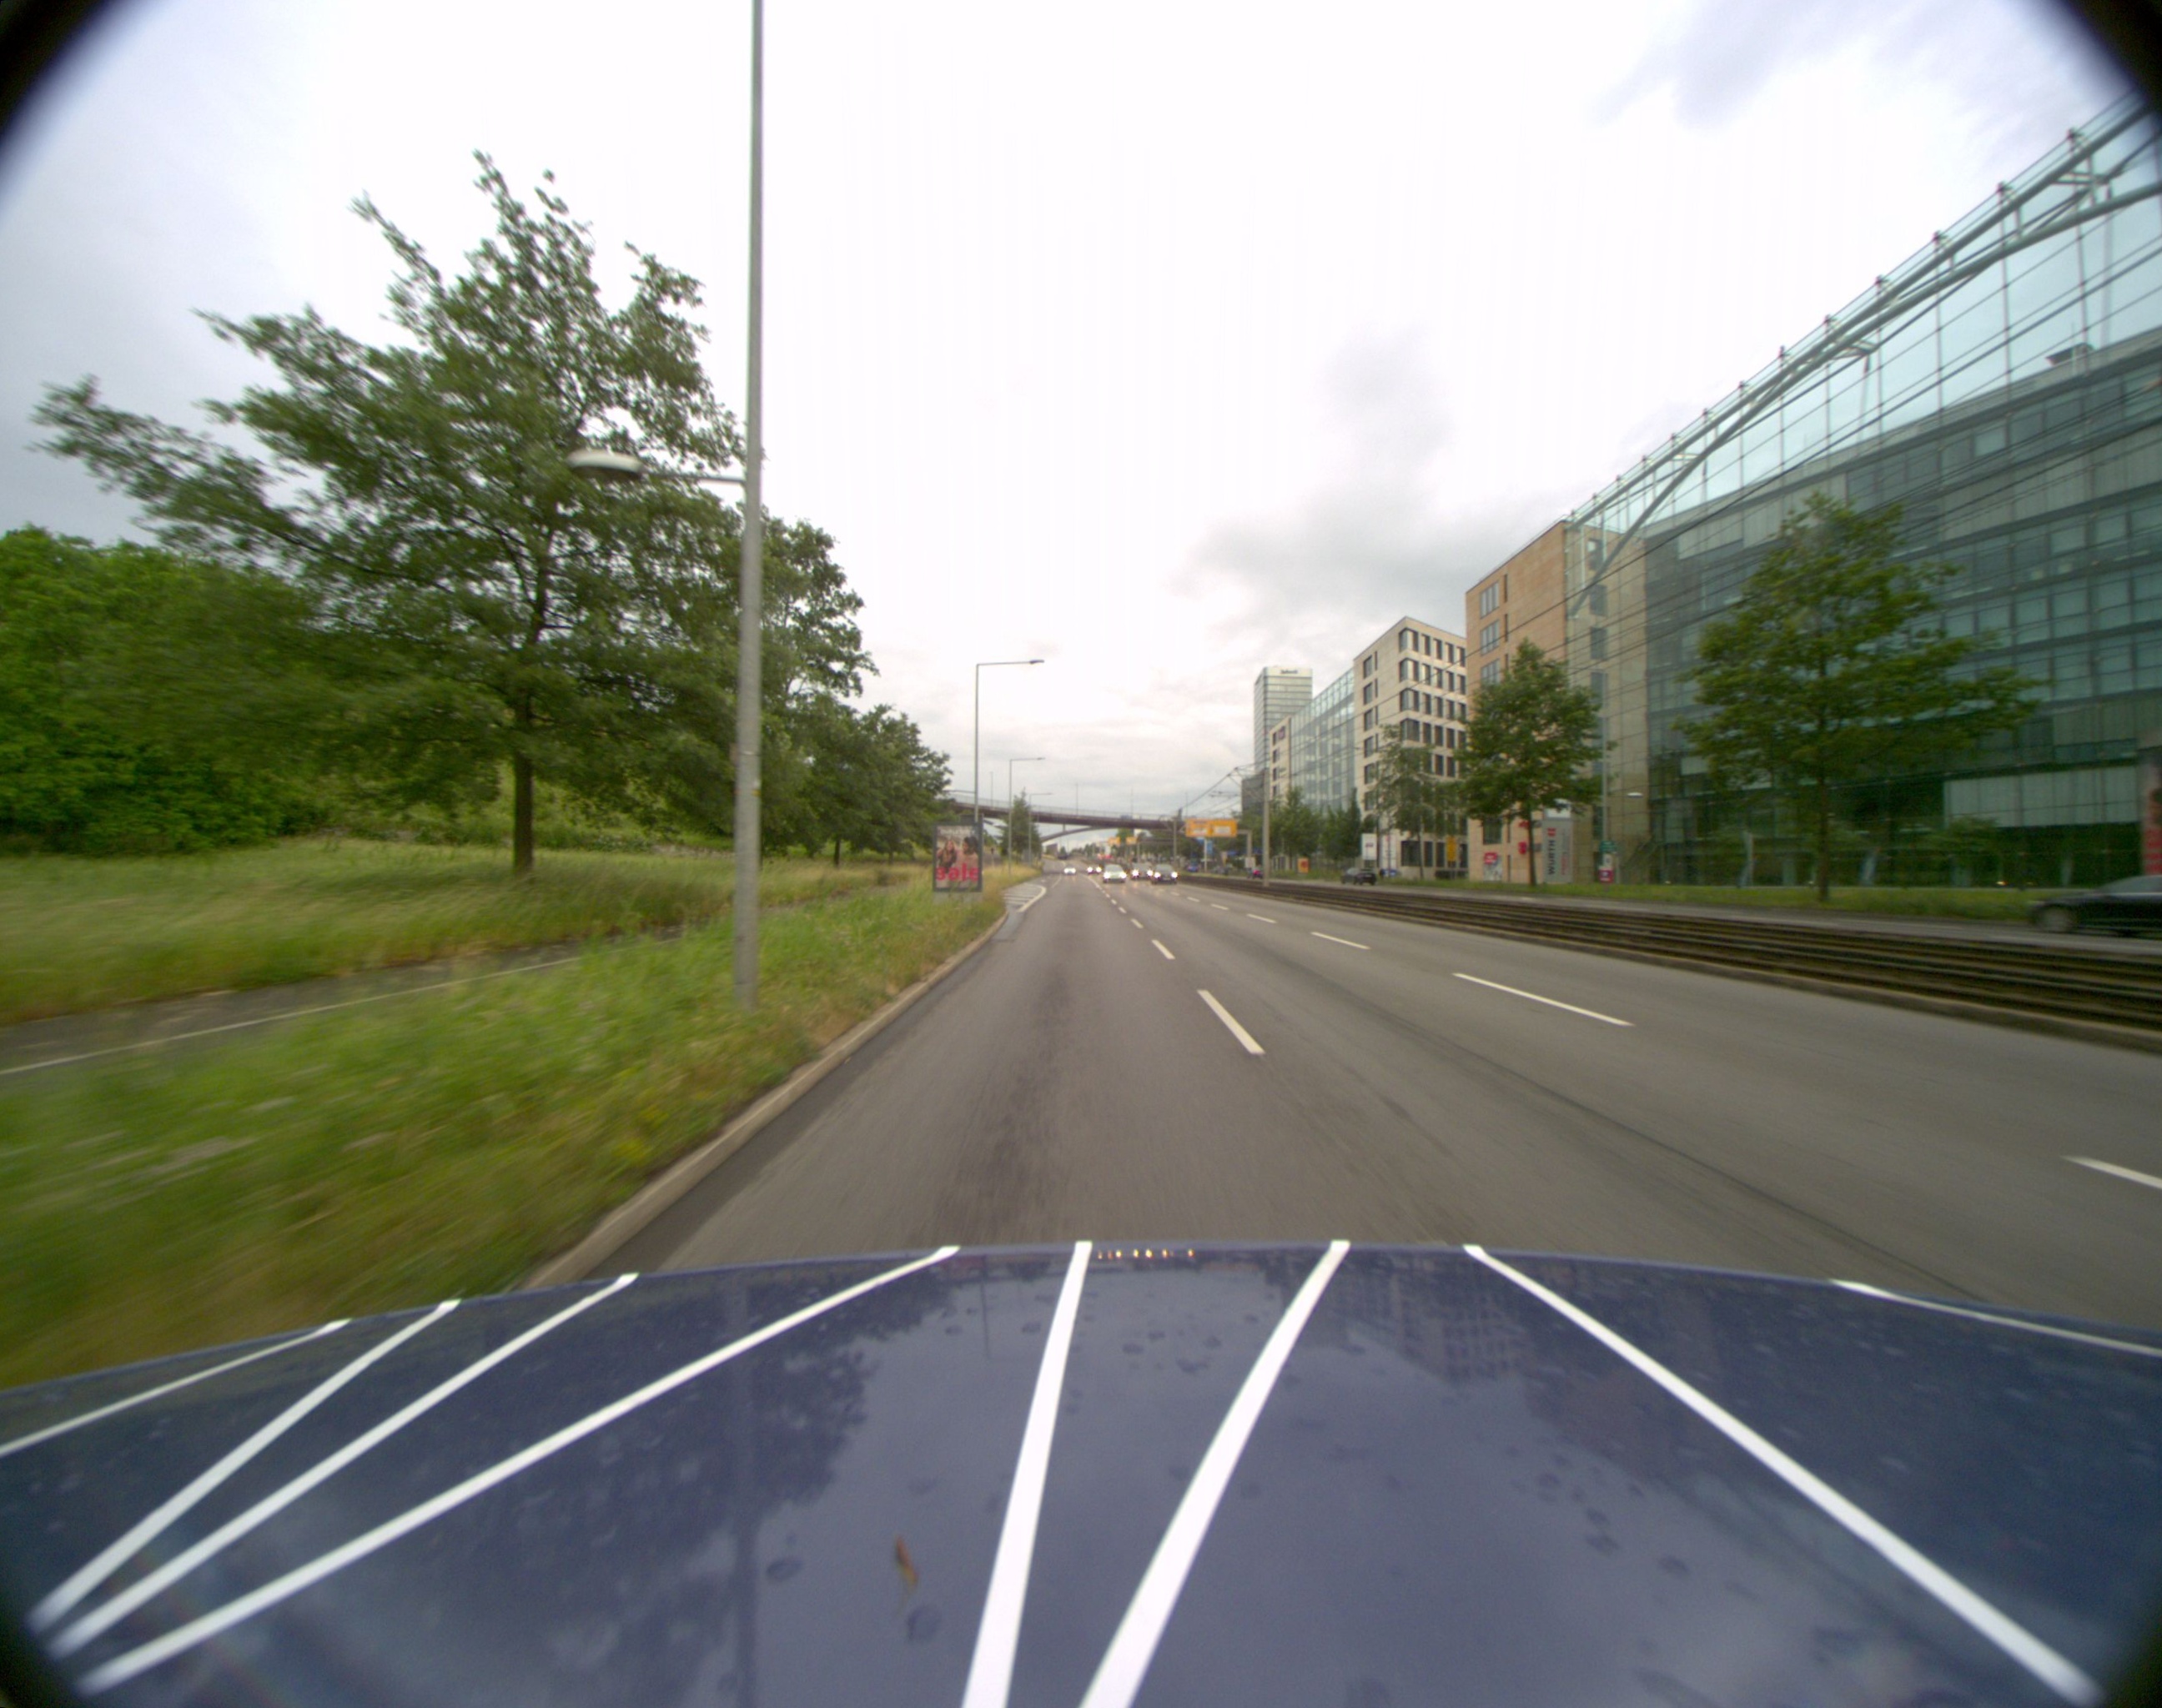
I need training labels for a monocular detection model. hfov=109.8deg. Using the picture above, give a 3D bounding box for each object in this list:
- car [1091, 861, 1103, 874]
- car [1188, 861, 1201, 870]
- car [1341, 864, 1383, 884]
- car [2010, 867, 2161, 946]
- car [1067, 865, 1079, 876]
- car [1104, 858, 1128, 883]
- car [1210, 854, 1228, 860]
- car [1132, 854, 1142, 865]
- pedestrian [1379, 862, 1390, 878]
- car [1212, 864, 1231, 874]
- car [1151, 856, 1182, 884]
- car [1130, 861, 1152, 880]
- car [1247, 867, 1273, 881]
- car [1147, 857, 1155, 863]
[{"bbox_3d":[2.505,2.173,121.280,1.794,1.858,4.376,-1,1,1],"label":"car"},{"bbox_3d":[22.764,2.288,152.395,1.845,1.446,4.023,-2,1,0],"label":"car"},{"bbox_3d":[23.395,1.631,63.463,1.845,1.477,4.430,3,-1,0],"label":"car"},{"bbox_3d":[22.723,1.104,15.775,1.672,1.453,4.237,-2,1,0],"label":"car"},{"bbox_3d":[-1.301,2.655,122.093,1.794,1.621,4.376,-1,1,1],"label":"car"},{"bbox_3d":[2.899,1.330,64.071,1.794,1.858,4.376,-1,1,1],"label":"car"},{"bbox_3d":[37.229,0.767,205.214,4.363,1.495,1.885,-1,1,2],"label":"car"},{"bbox_3d":[15.587,1.472,212.121,2.390,2.801,5.611,-2,0,-1],"label":"car"},{"bbox_3d":[30.624,1.623,76.687,0.643,1.622,0.831,-2,2,-3],"label":"pedestrian"},{"bbox_3d":[20.961,2.217,113.447,1.845,1.477,4.654,3,-1,0],"label":"car"},{"bbox_3d":[6.426,1.167,57.514,1.794,1.858,4.376,-1,1,1],"label":"car"},{"bbox_3d":[5.738,1.578,73.095,1.794,1.535,4.376,-1,1,1],"label":"car"},{"bbox_3d":[20.743,2.300,88.267,1.845,1.477,4.654,3,-1,0],"label":"car"},{"bbox_3d":[18.757,1.493,204.530,1.764,1.524,4.817,-2,0,0],"label":"car"}]
